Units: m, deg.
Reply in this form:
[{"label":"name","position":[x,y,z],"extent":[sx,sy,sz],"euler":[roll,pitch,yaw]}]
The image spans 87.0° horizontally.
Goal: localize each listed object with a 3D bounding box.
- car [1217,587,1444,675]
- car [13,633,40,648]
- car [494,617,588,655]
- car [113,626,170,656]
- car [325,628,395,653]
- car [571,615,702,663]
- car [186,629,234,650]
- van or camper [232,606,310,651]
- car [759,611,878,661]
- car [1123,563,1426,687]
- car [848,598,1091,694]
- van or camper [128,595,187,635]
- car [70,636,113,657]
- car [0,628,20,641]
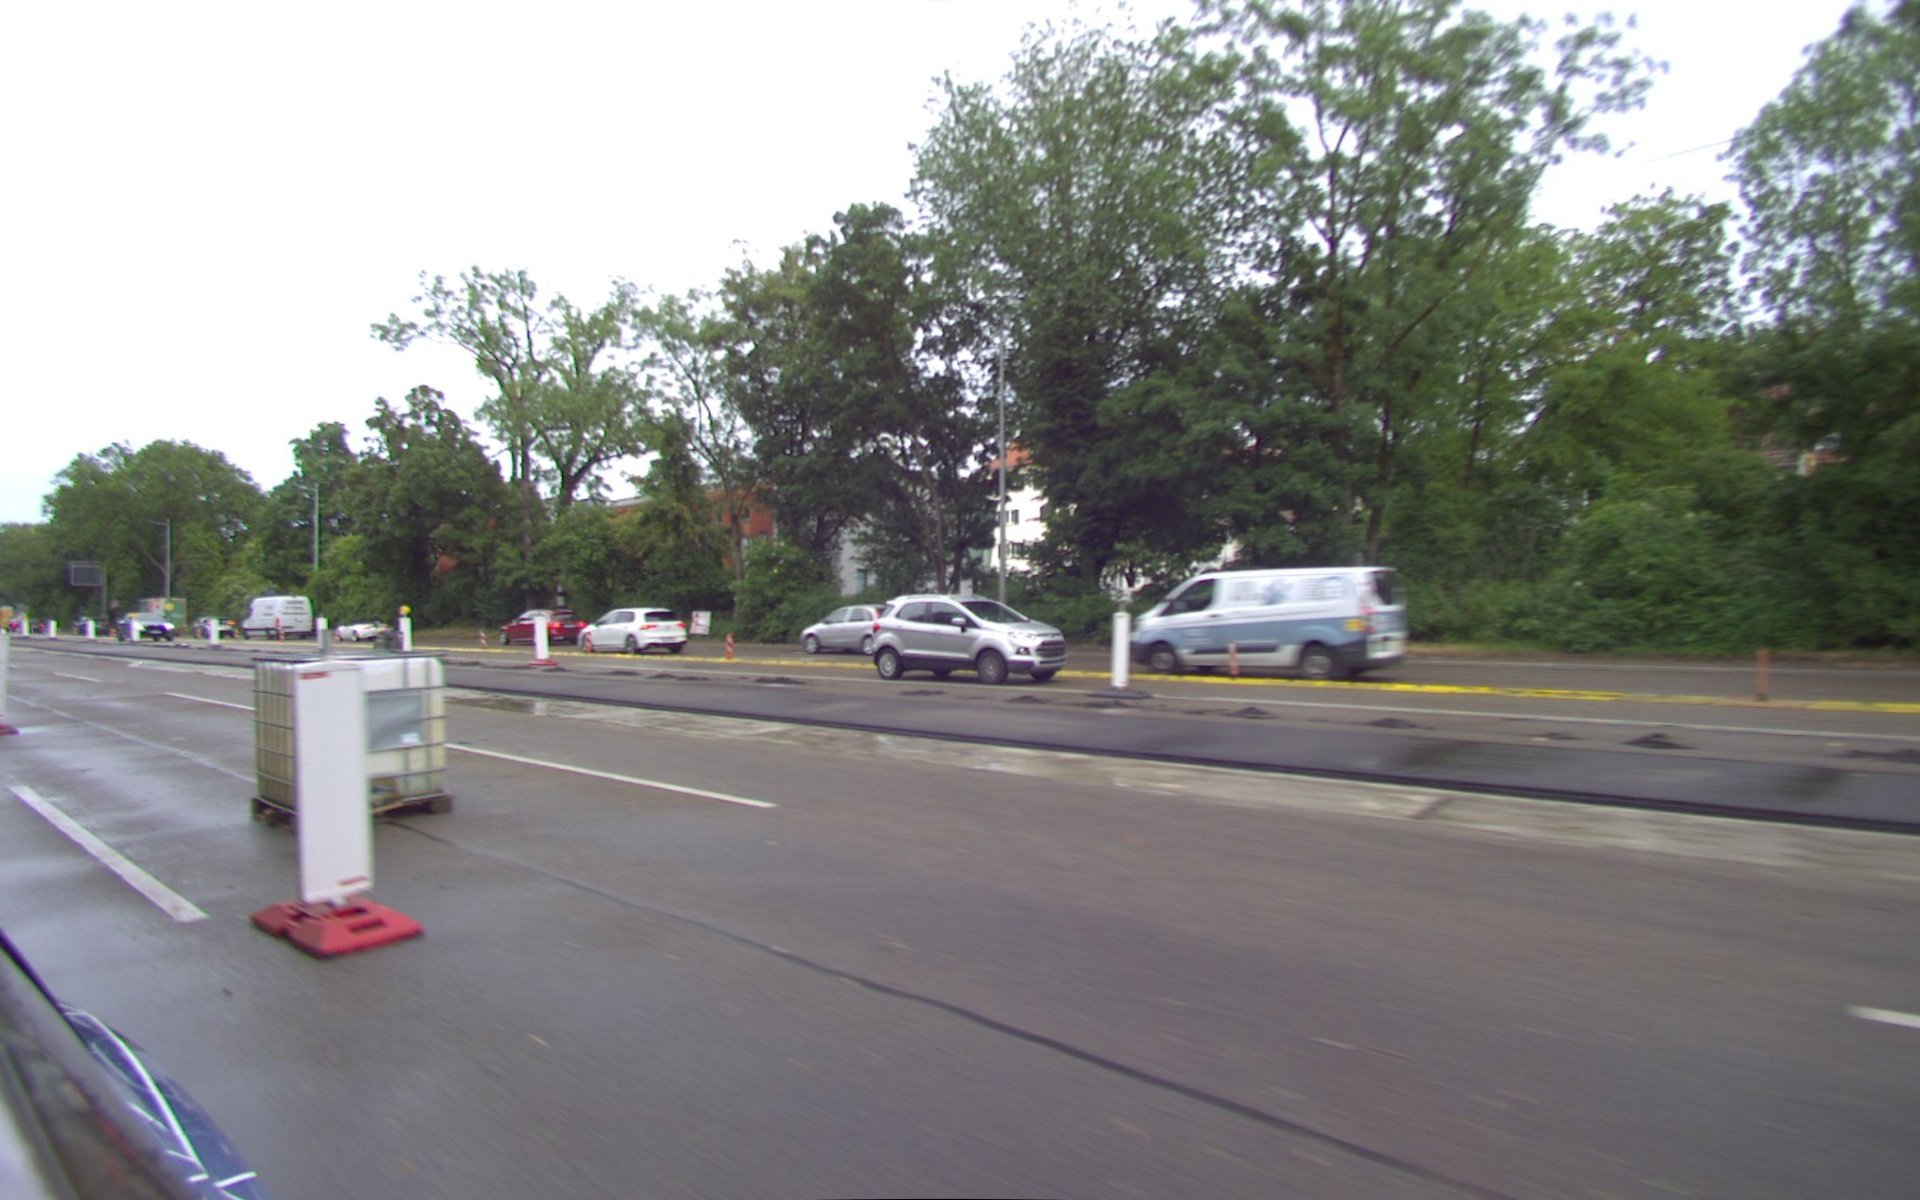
[{"label":"car","position":[7.567,0.606,20.847],"extent":[3.997,1.634,1.808],"euler":[-2,0,41]},{"label":"car","position":[-97.035,4.204,105.212],"extent":[4.106,1.453,1.670],"euler":[-2,-1,41]},{"label":"car","position":[-17.337,1.477,41.805],"extent":[4.483,1.487,1.711],"euler":[-1,-1,40]},{"label":"car","position":[-48.220,2.402,59.587],"extent":[4.812,1.641,1.972],"euler":[-1,-1,43]},{"label":"car","position":[-31.663,2.125,53.384],"extent":[3.990,1.192,1.675],"euler":[-2,0,35]},{"label":"car","position":[-10.388,1.211,32.379],"extent":[4.389,1.426,1.974],"euler":[-1,-2,39]},{"label":"car","position":[-51.466,2.704,69.451],"extent":[4.077,1.375,1.698],"euler":[-2,-2,39]},{"label":"van or camper","position":[-42.556,1.754,62.403],"extent":[7.724,2.574,1.973],"euler":[-2,0,41]},{"label":"car","position":[-4.361,1.082,30.923],"extent":[3.638,1.411,1.661],"euler":[-2,-1,42]},{"label":"car","position":[5.635,0.448,18.509],"extent":[4.897,1.987,1.974],"euler":[-2,-1,39]},{"label":"car","position":[0.095,0.821,19.095],"extent":[4.360,1.576,1.870],"euler":[-2,0,40]},{"label":"van or camper","position":[-64.688,1.269,81.539],"extent":[7.445,3.086,2.274],"euler":[-2,-1,40]},{"label":"car","position":[-73.566,3.911,85.679],"extent":[4.803,1.706,1.973],"euler":[-2,-2,40]},{"label":"car","position":[-117.277,4.225,124.439],"extent":[4.394,1.564,1.870],"euler":[-2,0,40]}]
